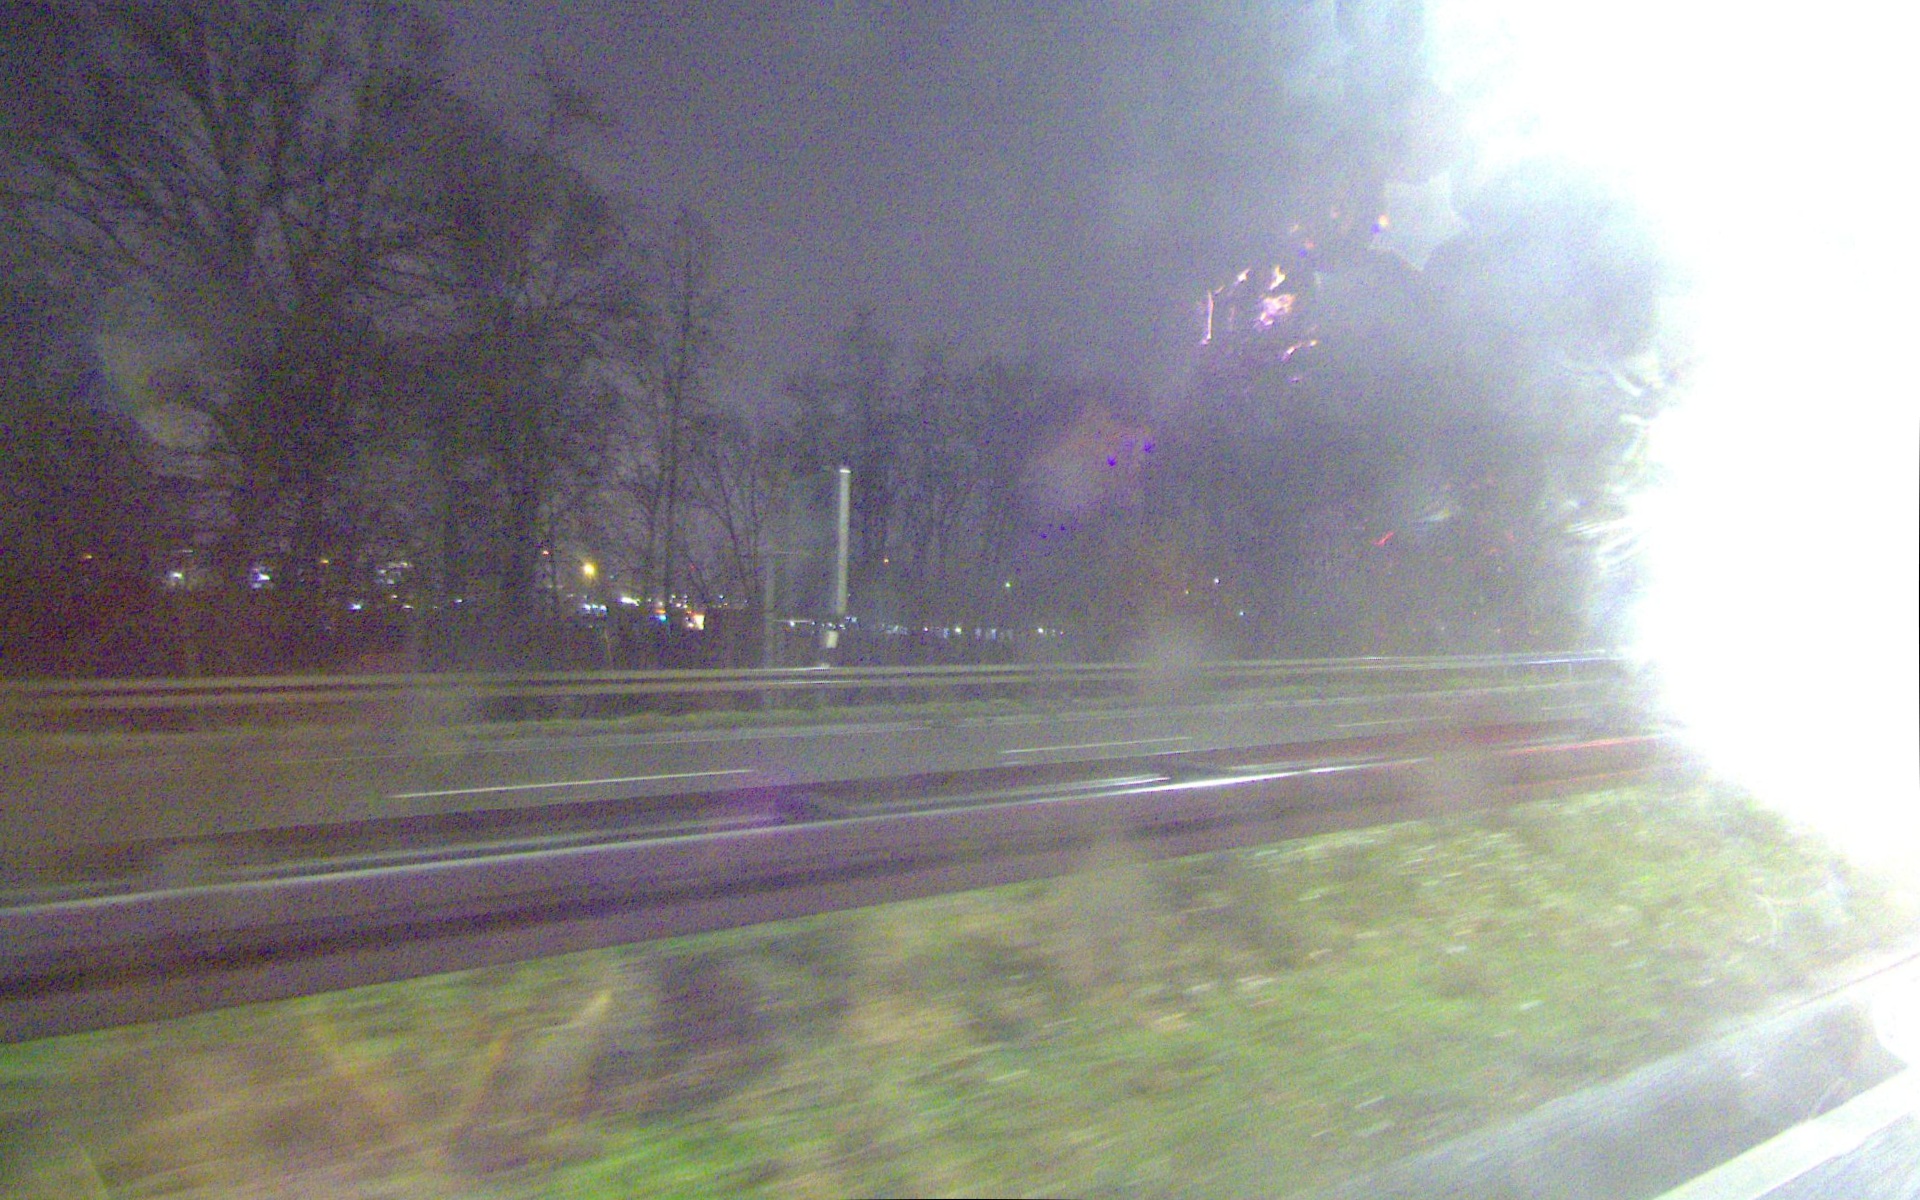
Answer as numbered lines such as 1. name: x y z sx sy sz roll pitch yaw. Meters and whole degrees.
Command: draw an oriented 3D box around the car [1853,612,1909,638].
1. car: 74.567 2.030 81.407 2.176 2.040 3.997 1 -1 25
